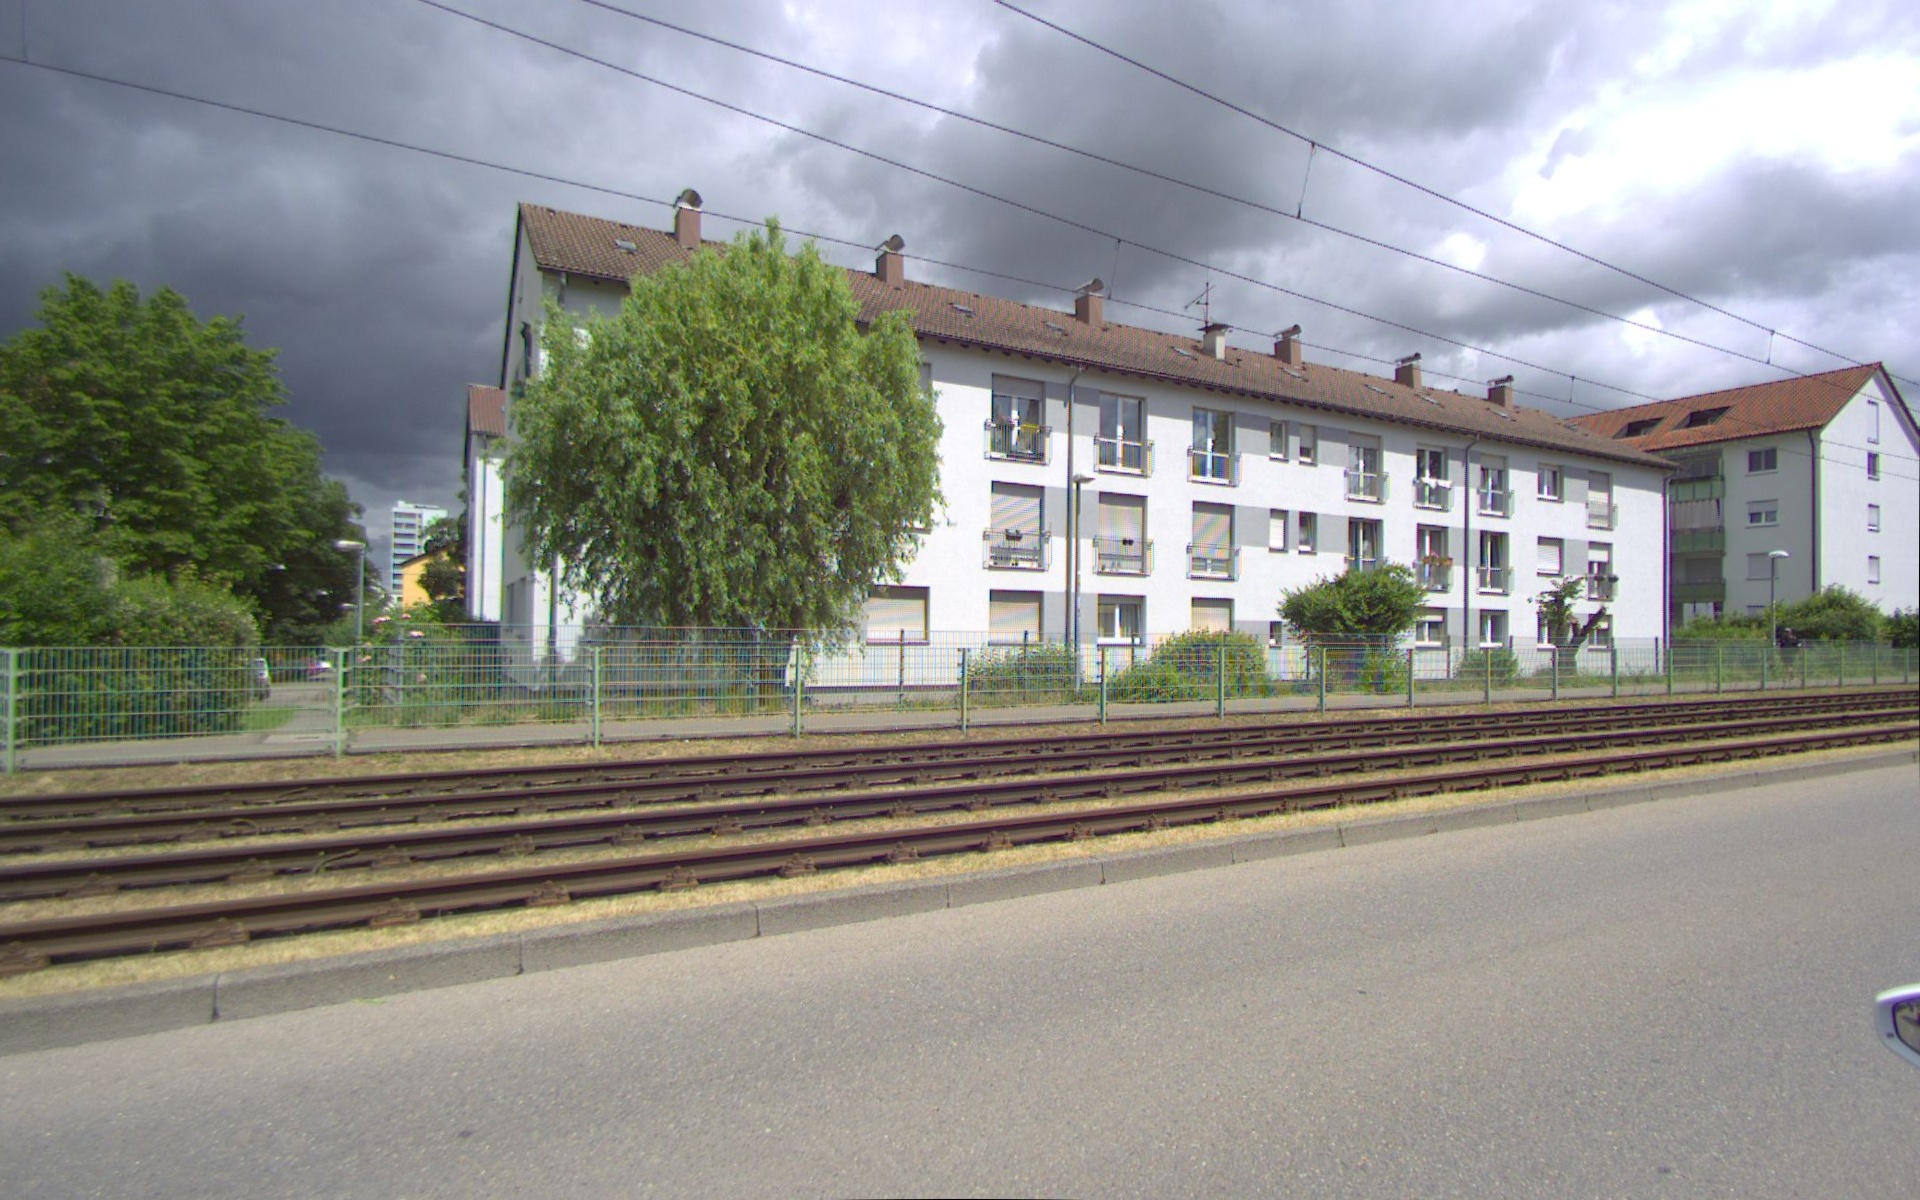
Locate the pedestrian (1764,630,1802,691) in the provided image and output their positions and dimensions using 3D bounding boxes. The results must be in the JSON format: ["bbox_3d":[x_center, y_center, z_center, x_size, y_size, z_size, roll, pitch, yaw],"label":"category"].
[{"bbox_3d":[25.663,1.876,31.323,0.759,1.873,0.656,1,-2,-30],"label":"pedestrian"}]
